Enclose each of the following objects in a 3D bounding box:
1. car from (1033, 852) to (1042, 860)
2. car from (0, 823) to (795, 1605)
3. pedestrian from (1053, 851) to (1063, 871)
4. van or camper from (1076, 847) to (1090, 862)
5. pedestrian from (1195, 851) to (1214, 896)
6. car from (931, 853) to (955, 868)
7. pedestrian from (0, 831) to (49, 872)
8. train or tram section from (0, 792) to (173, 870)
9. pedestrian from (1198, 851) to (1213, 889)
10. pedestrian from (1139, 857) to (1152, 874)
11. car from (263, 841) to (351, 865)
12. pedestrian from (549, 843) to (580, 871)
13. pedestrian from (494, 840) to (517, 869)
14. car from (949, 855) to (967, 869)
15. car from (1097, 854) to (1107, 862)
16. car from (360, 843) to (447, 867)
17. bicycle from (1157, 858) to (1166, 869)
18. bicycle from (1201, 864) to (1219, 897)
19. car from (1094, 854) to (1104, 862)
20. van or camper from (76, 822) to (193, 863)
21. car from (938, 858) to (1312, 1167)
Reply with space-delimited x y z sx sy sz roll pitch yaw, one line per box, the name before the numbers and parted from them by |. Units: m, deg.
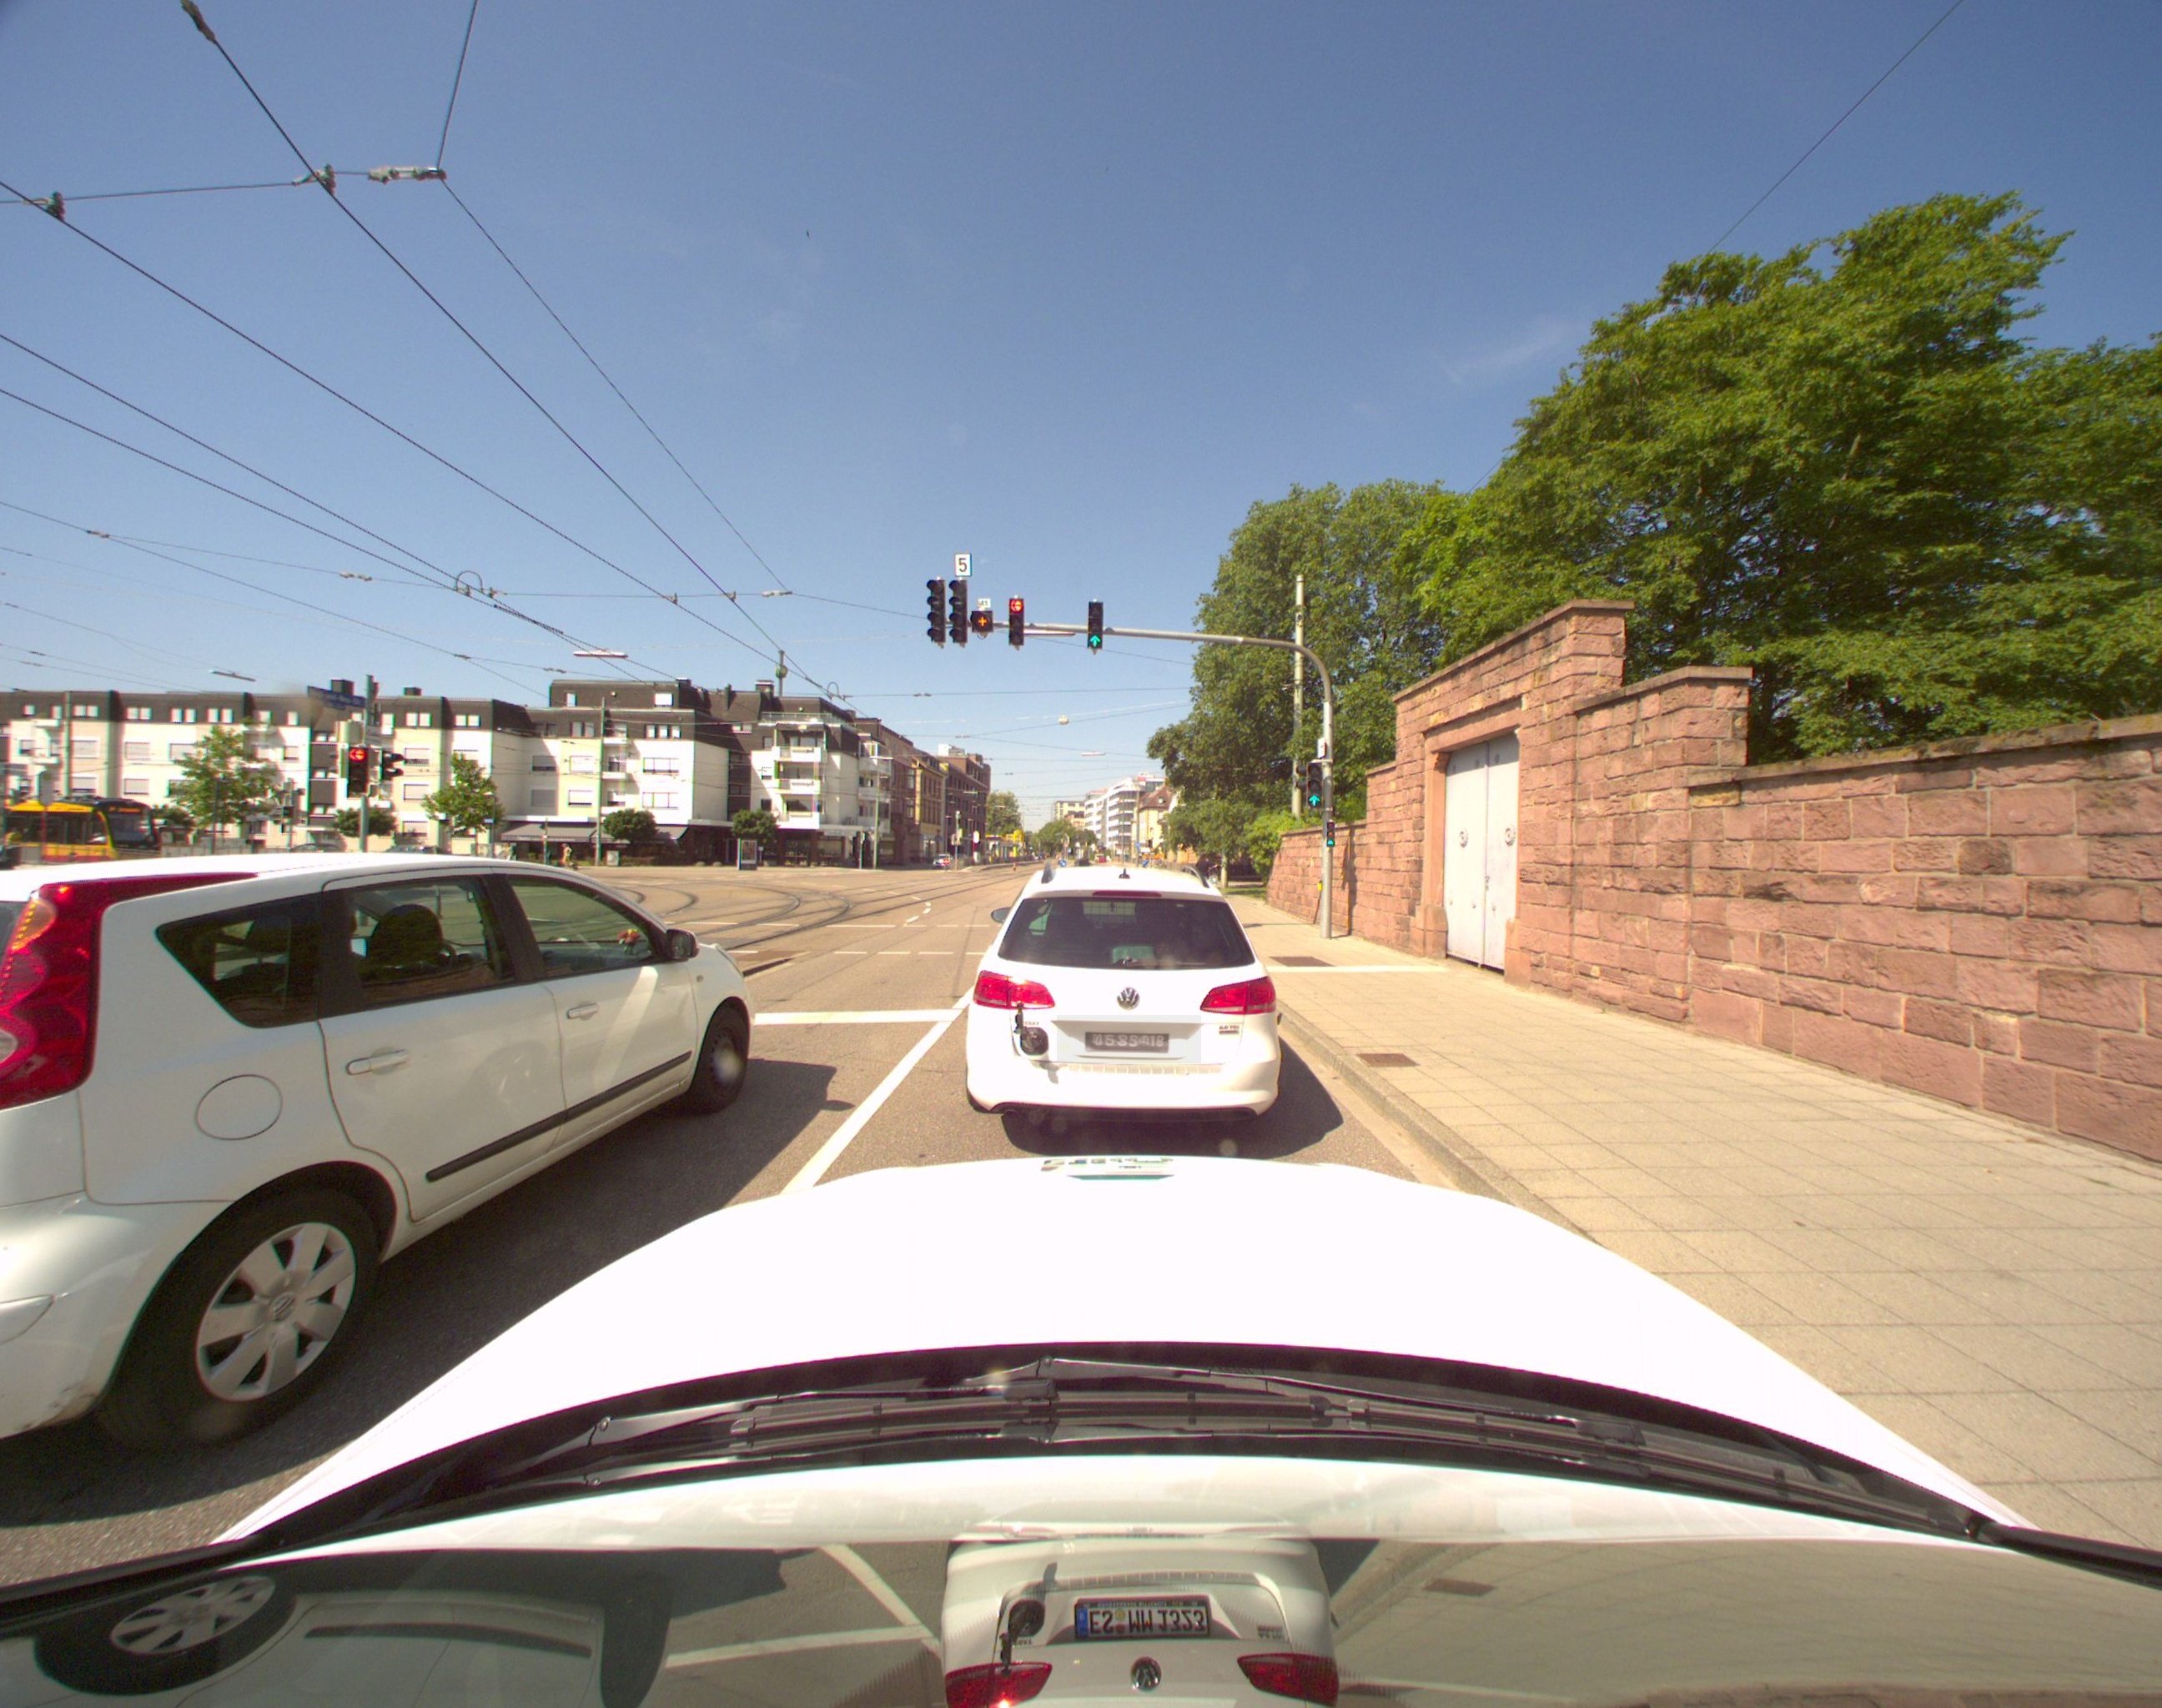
car | -10.991 0.417 204.359 1.987 2.014 3.999 0 -1 0
car | -2.952 0.727 3.677 1.759 1.561 4.068 0 0 2
pedestrian | -2.166 0.661 75.609 0.823 1.809 0.834 1 0 2
van or camper | 0.420 0.127 183.513 2.935 3.180 6.610 1 0 -1
pedestrian | 4.262 0.673 28.224 0.538 1.549 0.663 -1 0 1
car | -13.701 0.641 80.876 1.620 1.431 3.962 2 0 0
pedestrian | -49.010 -0.115 37.727 1.193 1.837 0.897 1 0 1
train or tram section | -53.603 -1.168 40.478 13.814 3.658 2.769 1 0 1
pedestrian | 5.631 0.729 36.761 0.646 1.682 0.709 1 0 8
pedestrian | 5.793 1.013 73.322 0.848 1.510 0.786 0 -1 43
car | -51.206 -0.080 53.923 3.973 1.500 1.828 1 0 0
pedestrian | -33.894 0.179 53.459 1.108 1.836 1.448 0 0 41
pedestrian | -35.570 0.021 50.326 0.756 1.760 0.814 1 0 9
car | -13.367 0.811 88.626 1.568 1.459 3.811 1 0 -2
car | 5.015 0.909 192.553 1.989 2.013 3.996 1 0 -3
car | -44.939 0.067 54.077 4.158 1.500 1.828 1 0 0
bicycle | 8.902 1.047 90.144 0.720 1.139 2.203 1 0 14
bicycle | 4.437 0.898 27.990 0.532 1.111 1.812 0 -1 11
car | 4.386 0.921 197.978 1.989 2.013 3.996 1 0 -3
van or camper | -62.656 -0.753 53.999 4.859 2.624 2.376 1 0 0
car | 0.271 0.751 5.769 1.746 1.418 3.854 1 0 2
